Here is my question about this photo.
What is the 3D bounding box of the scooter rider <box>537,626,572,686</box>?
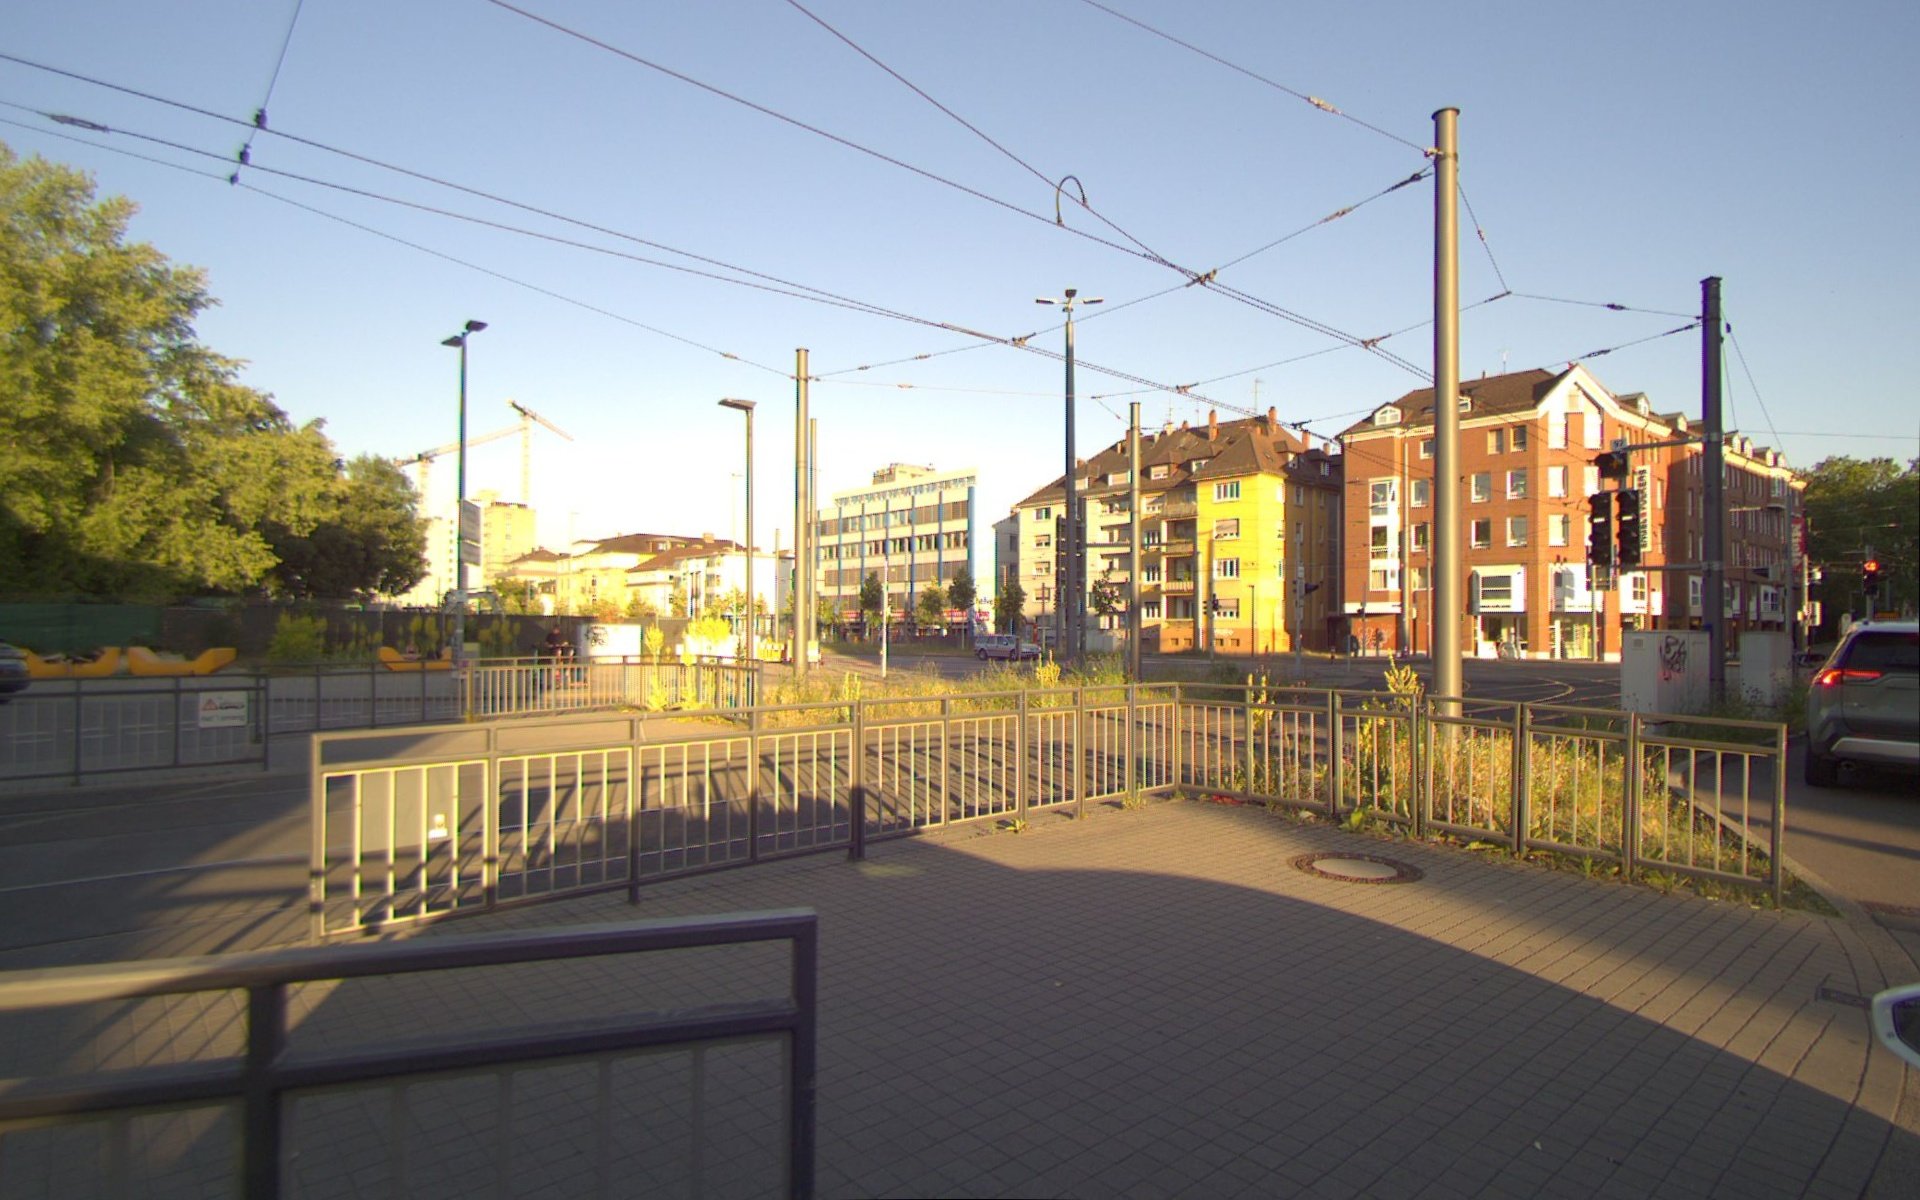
[{"bbox_3d":[-11.235,1.538,27.823,0.576,1.614,0.656,1,0,31],"label":"scooter rider"}]

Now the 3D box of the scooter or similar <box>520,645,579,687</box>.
[{"bbox_3d":[-11.314,1.814,27.738,0.419,1.077,1.622,1,-1,27],"label":"scooter or similar"}]

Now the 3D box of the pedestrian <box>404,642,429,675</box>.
[{"bbox_3d":[-20.756,2.234,38.341,0.699,1.227,0.717,2,-1,-39],"label":"pedestrian"}]

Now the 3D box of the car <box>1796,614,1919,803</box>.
[{"bbox_3d":[9.905,0.998,10.274,1.816,1.658,4.066,0,-1,44],"label":"car"}]

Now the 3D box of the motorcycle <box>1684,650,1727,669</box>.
[{"bbox_3d":[40.623,3.239,54.731,0.429,0.920,1.816,2,-1,-42],"label":"motorcycle"}]

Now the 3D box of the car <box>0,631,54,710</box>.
[{"bbox_3d":[-21.810,1.431,20.945,3.922,1.567,1.999,2,-1,-2],"label":"car"}]

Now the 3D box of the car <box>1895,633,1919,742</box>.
[{"bbox_3d":[15.214,1.256,14.676,4.373,1.480,1.730,1,0,-40],"label":"car"}]

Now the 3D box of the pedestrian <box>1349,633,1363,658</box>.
[{"bbox_3d":[28.391,3.288,72.028,0.656,1.765,0.689,2,-1,-10],"label":"pedestrian"}]

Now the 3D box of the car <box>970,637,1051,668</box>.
[{"bbox_3d":[2.788,2.904,56.178,4.293,1.572,1.988,0,-2,45],"label":"car"}]

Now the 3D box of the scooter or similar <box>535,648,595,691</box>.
[{"bbox_3d":[-10.738,1.865,27.366,0.419,1.097,1.622,1,-1,27],"label":"scooter or similar"}]

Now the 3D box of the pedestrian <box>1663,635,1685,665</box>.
[{"bbox_3d":[50.533,3.550,71.071,0.901,2.040,1.084,2,-1,-40],"label":"pedestrian"}]

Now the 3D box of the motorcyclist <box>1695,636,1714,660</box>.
[{"bbox_3d":[40.577,2.606,54.715,0.783,1.236,0.697,2,-1,-44],"label":"motorcyclist"}]
